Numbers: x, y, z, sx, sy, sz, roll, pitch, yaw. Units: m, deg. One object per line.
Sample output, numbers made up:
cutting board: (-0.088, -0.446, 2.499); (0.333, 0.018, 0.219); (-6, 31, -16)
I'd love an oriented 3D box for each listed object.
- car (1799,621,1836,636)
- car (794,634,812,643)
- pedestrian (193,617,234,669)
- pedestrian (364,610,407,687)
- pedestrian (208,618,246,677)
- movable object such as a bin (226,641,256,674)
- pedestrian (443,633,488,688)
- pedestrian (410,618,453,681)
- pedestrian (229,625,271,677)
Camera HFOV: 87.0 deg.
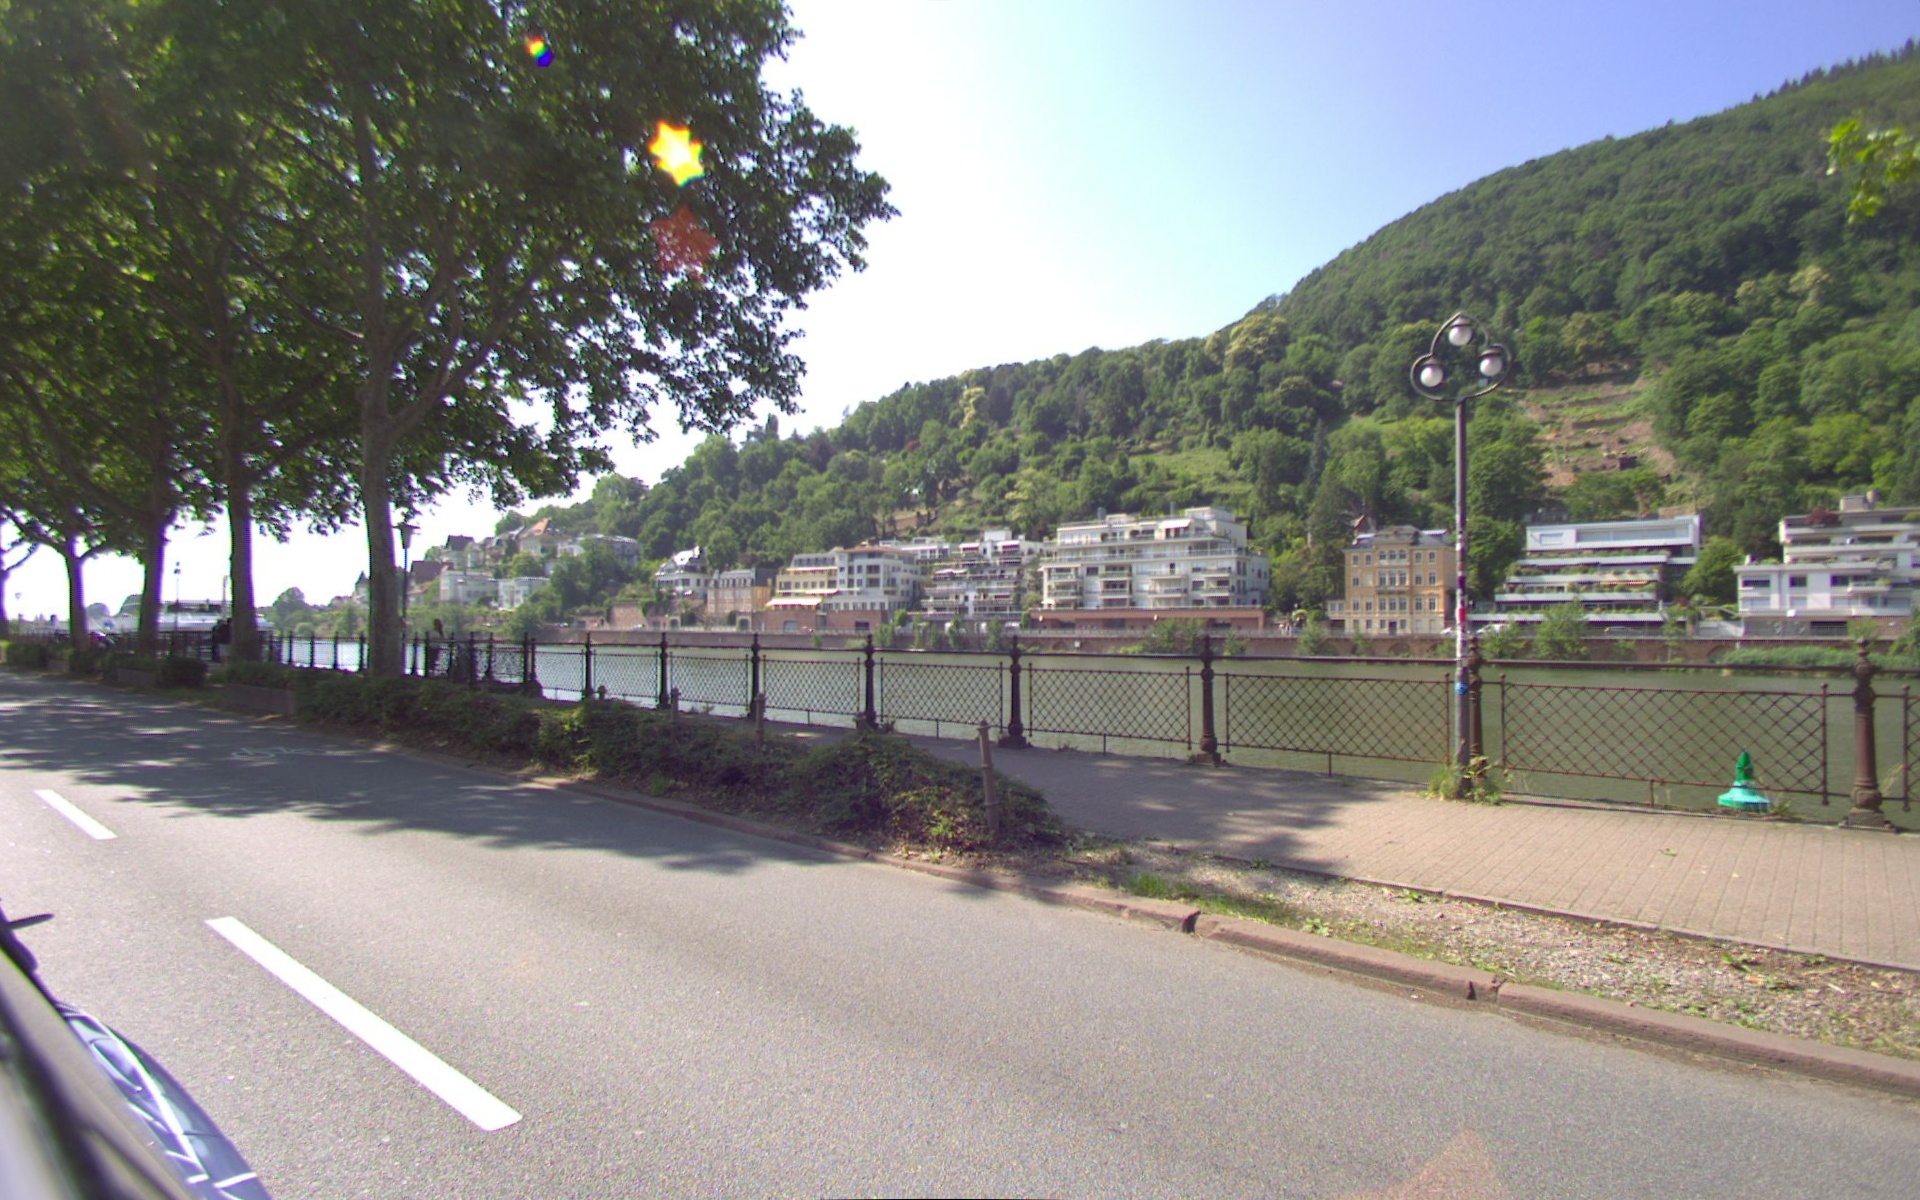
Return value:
car: (125.335, 4.185, 147.896); (3.998, 2.029, 1.973); (-3, -2, 41)
car: (-37.457, 9.233, 241.546); (3.985, 2.029, 1.979); (-1, 0, 31)
pedestrian: (-29.828, 1.714, 40.473); (1.032, 2.029, 1.038); (-1, 0, -19)
pedestrian: (-14.562, 1.233, 25.643); (0.756, 1.915, 0.771); (3, -4, -42)
pedestrian: (-24.037, 1.543, 33.187); (0.928, 1.863, 0.796); (-1, 0, 41)
movable object such as a bin: (-24.321, 1.951, 34.253); (0.783, 1.057, 0.694); (-1, 0, 44)
pedestrian: (-12.683, 1.541, 25.951); (0.770, 1.398, 0.758); (-2, -3, 40)
pedestrian: (-15.105, 1.421, 28.917); (0.829, 1.771, 0.767); (-2, -4, 40)
pedestrian: (-23.611, 1.683, 33.651); (1.058, 1.647, 0.886); (-1, 0, 41)
